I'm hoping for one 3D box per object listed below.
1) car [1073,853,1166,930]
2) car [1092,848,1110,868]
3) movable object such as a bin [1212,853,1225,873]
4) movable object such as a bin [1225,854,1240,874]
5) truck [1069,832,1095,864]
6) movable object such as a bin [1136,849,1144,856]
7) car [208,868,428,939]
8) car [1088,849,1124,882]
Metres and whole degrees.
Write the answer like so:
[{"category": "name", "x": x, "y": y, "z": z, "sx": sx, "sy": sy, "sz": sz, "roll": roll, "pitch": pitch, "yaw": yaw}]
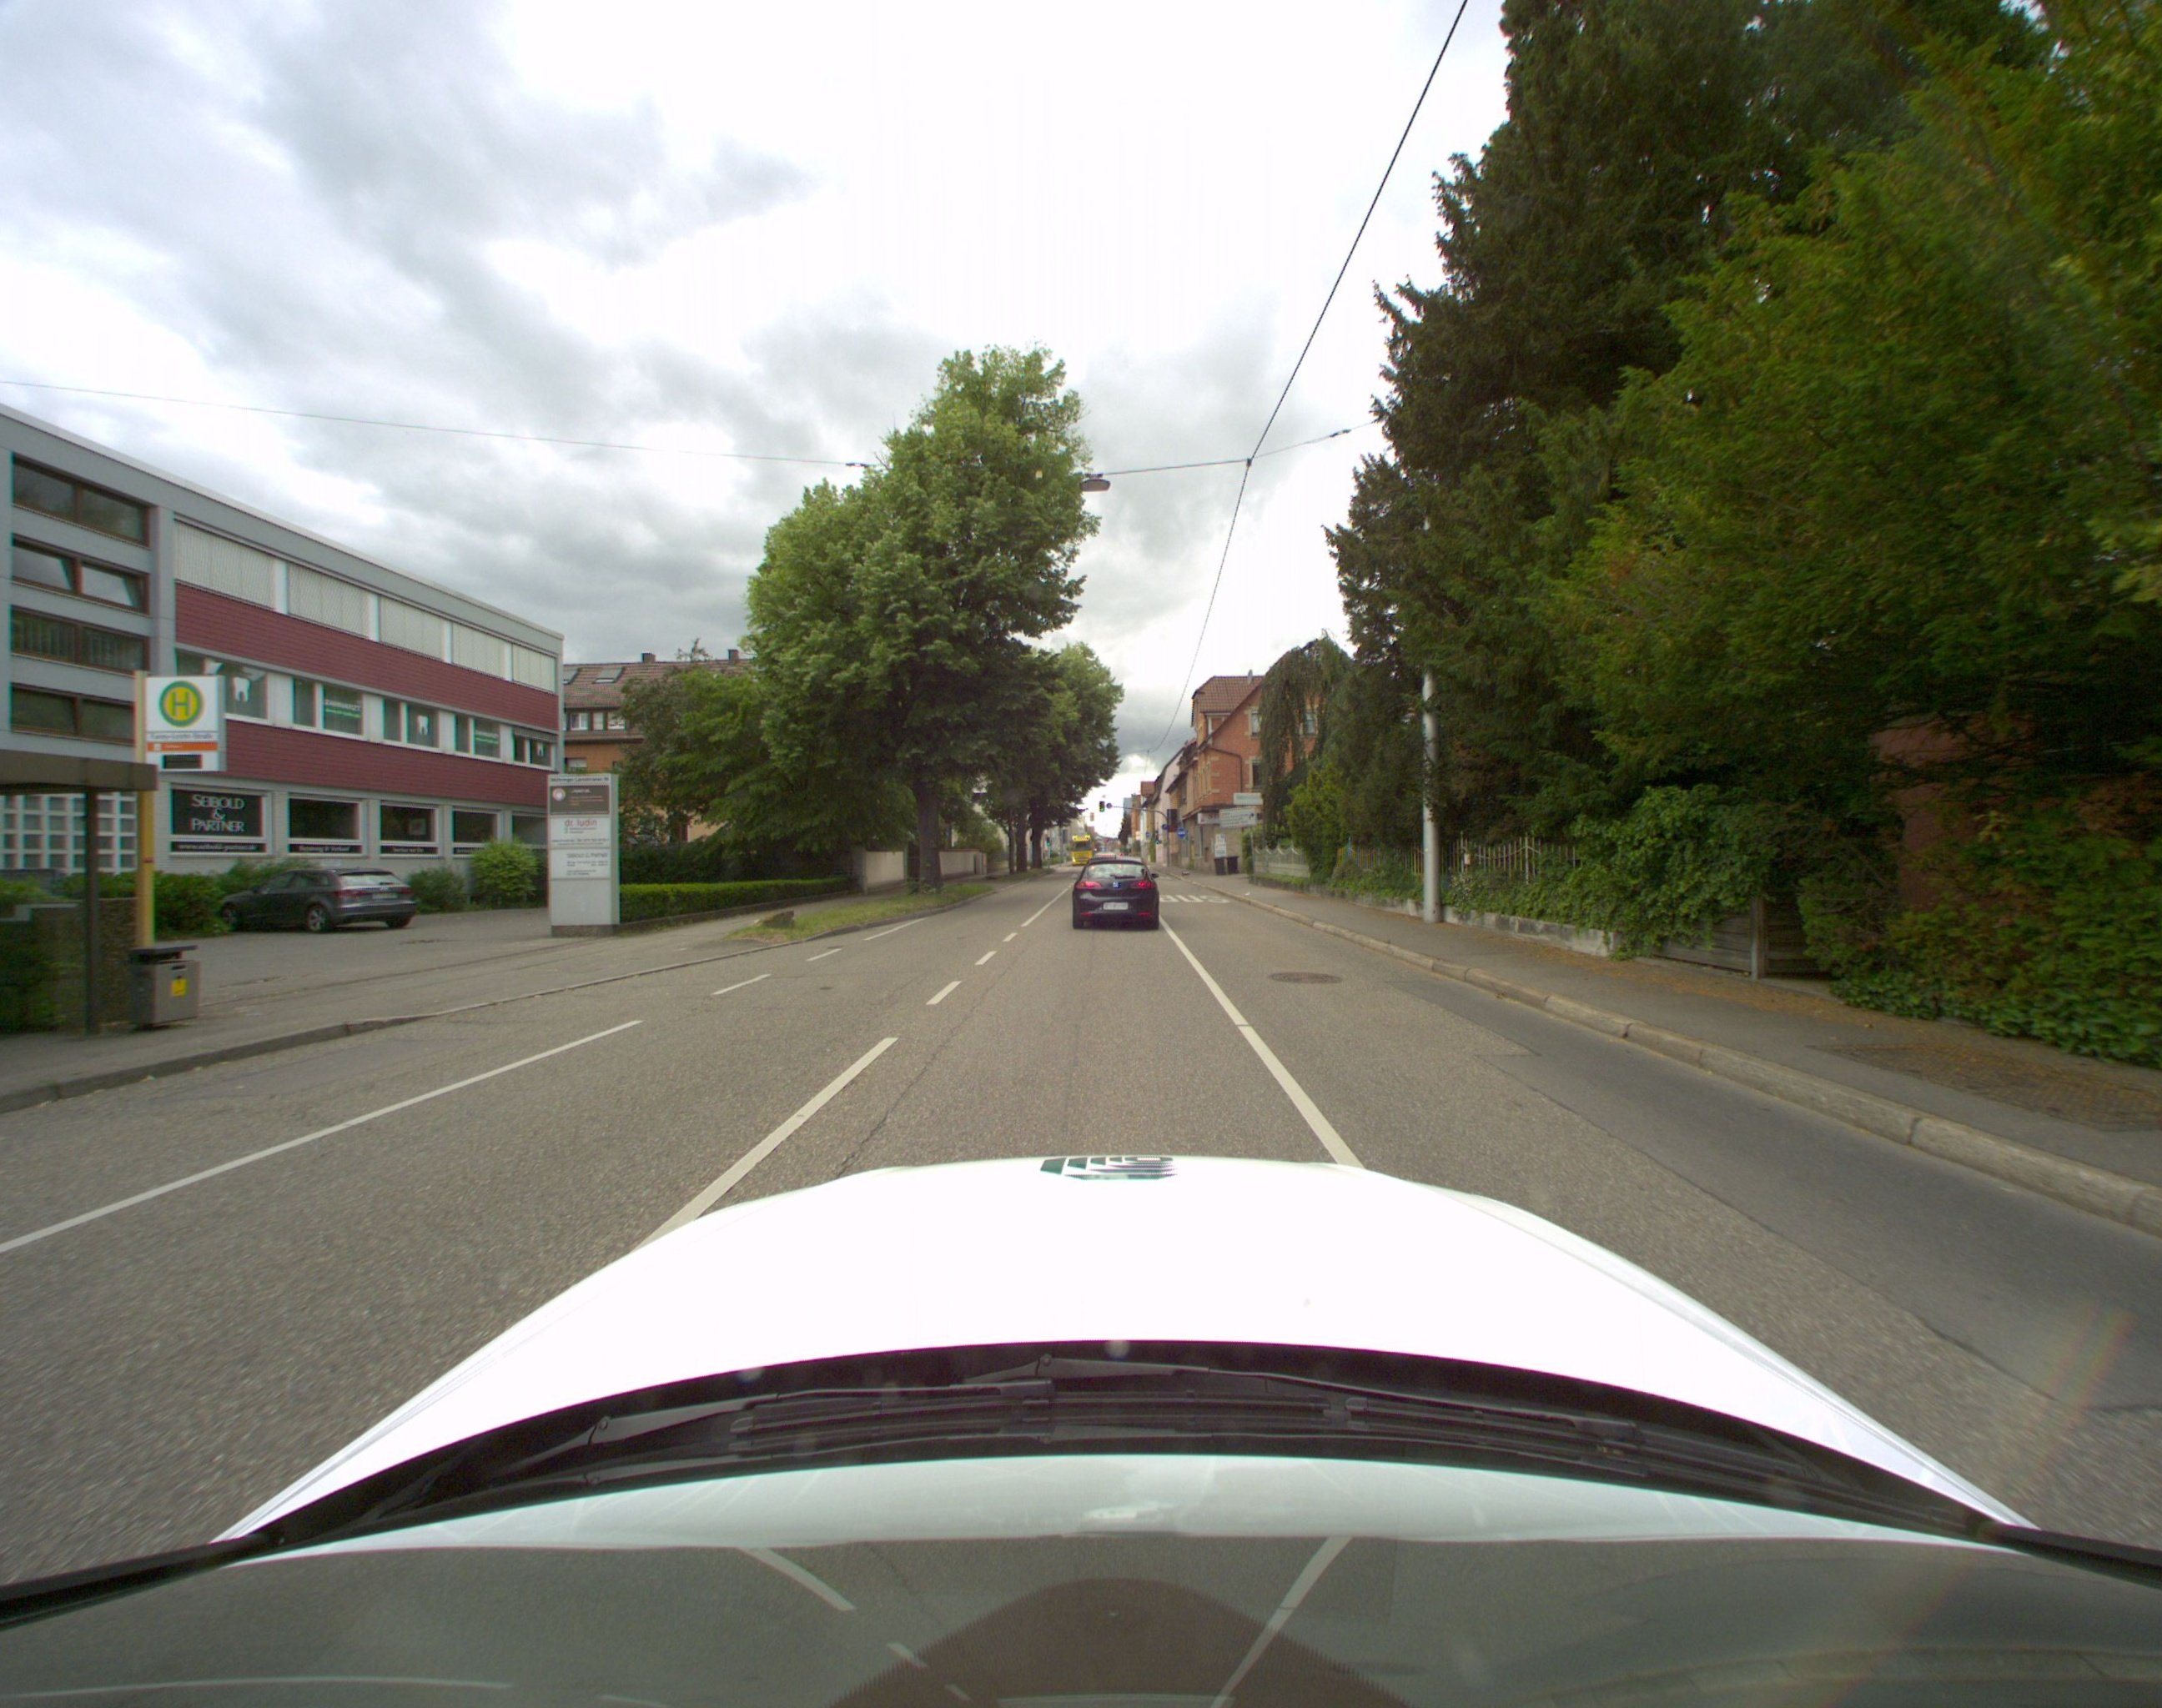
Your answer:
[{"category": "car", "x": 0.792, "y": 0.713, "z": 17.444, "sx": 1.752, "sy": 1.442, "sz": 4.002, "roll": -1, "pitch": 0, "yaw": 2}, {"category": "car", "x": 1.720, "y": 0.321, "z": 70.598, "sx": 1.526, "sy": 1.693, "sz": 3.694, "roll": -1, "pitch": 0, "yaw": 1}, {"category": "movable object such as a bin", "x": 7.823, "y": 0.506, "z": 46.460, "sx": 0.604, "sy": 1.100, "sz": 0.623, "roll": -3, "pitch": -1, "yaw": 2}, {"category": "movable object such as a bin", "x": 8.636, "y": 0.567, "z": 46.501, "sx": 0.696, "sy": 1.059, "sz": 0.724, "roll": -3, "pitch": -1, "yaw": 2}, {"category": "truck", "x": 0.199, "y": -0.675, "z": 100.520, "sx": 2.832, "sy": 3.782, "sz": 7.674, "roll": -1, "pitch": 0, "yaw": 2}, {"category": "movable object such as a bin", "x": 12.650, "y": -0.355, "z": 174.529, "sx": 1.810, "sy": 1.437, "sz": 1.994, "roll": -1, "pitch": 0, "yaw": 2}, {"category": "car", "x": -17.495, "y": 1.079, "z": 18.716, "sx": 4.106, "sy": 1.479, "sz": 1.820, "roll": -1, "pitch": 0, "yaw": 16}, {"category": "car", "x": 1.323, "y": 0.597, "z": 43.718, "sx": 1.835, "sy": 1.693, "sz": 4.001, "roll": -1, "pitch": 0, "yaw": 1}]
